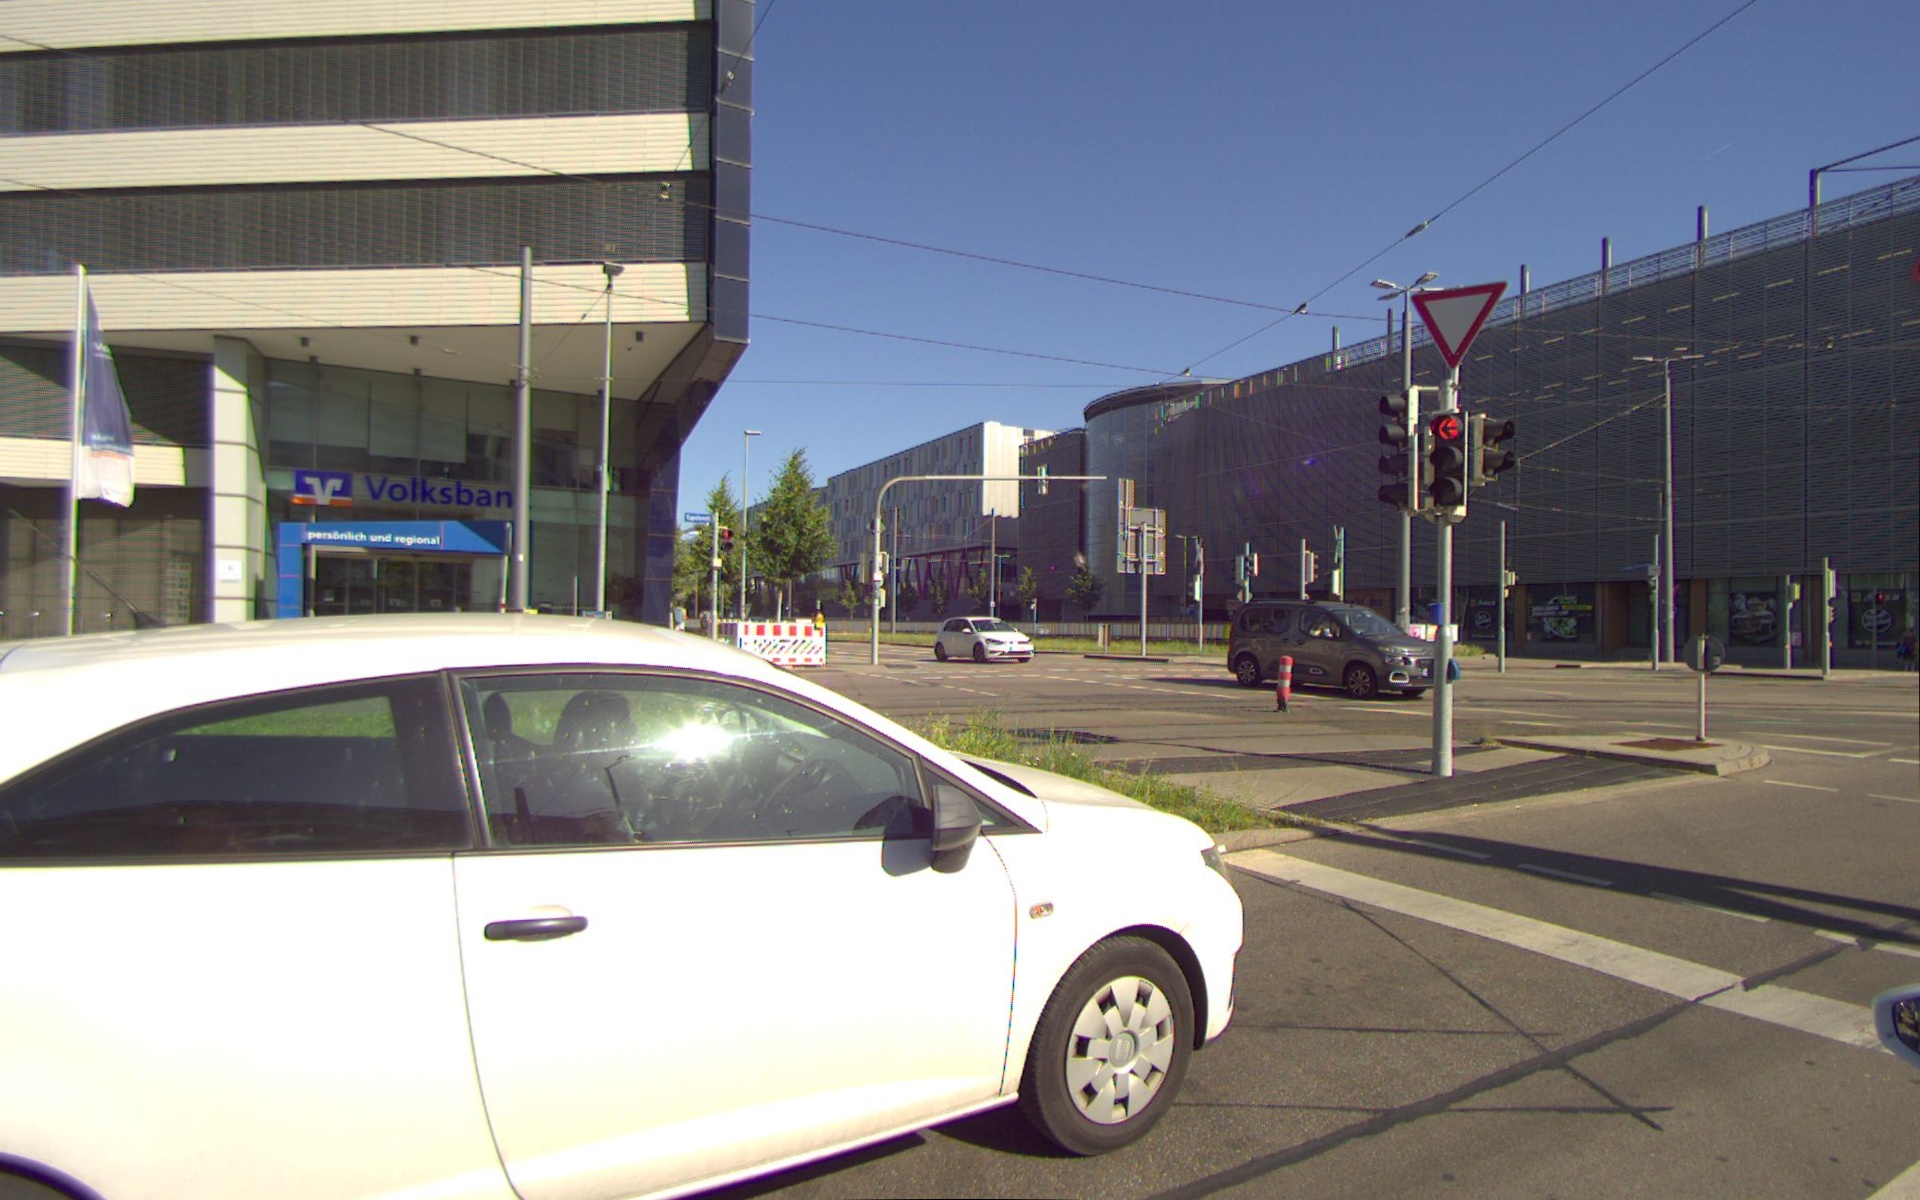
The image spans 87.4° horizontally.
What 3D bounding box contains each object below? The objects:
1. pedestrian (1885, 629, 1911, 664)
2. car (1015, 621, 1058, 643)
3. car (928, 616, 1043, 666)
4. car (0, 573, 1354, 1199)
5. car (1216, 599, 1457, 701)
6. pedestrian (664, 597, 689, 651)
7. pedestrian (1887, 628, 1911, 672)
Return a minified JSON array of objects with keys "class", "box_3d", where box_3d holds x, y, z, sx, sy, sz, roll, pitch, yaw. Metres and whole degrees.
[{"class":"pedestrian","box_3d":[44.793,2.220,47.978,0.584,1.622,0.661,2,0,-11]},{"class":"car","box_3d":[7.092,2.991,93.213,1.819,1.666,4.268,2,2,-30]},{"class":"car","box_3d":[0.726,1.260,31.986,1.842,1.492,4.265,1,-1,-28]},{"class":"car","box_3d":[-0.959,0.740,2.791,3.977,1.460,1.723,2,1,-31]},{"class":"car","box_3d":[7.399,0.923,20.181,1.690,1.815,4.434,1,-1,-32]},{"class":"pedestrian","box_3d":[-9.200,0.775,32.599,0.729,1.719,0.805,0,-2,-20]},{"class":"pedestrian","box_3d":[39.965,2.119,42.731,0.687,1.821,0.726,-2,-3,44]}]
